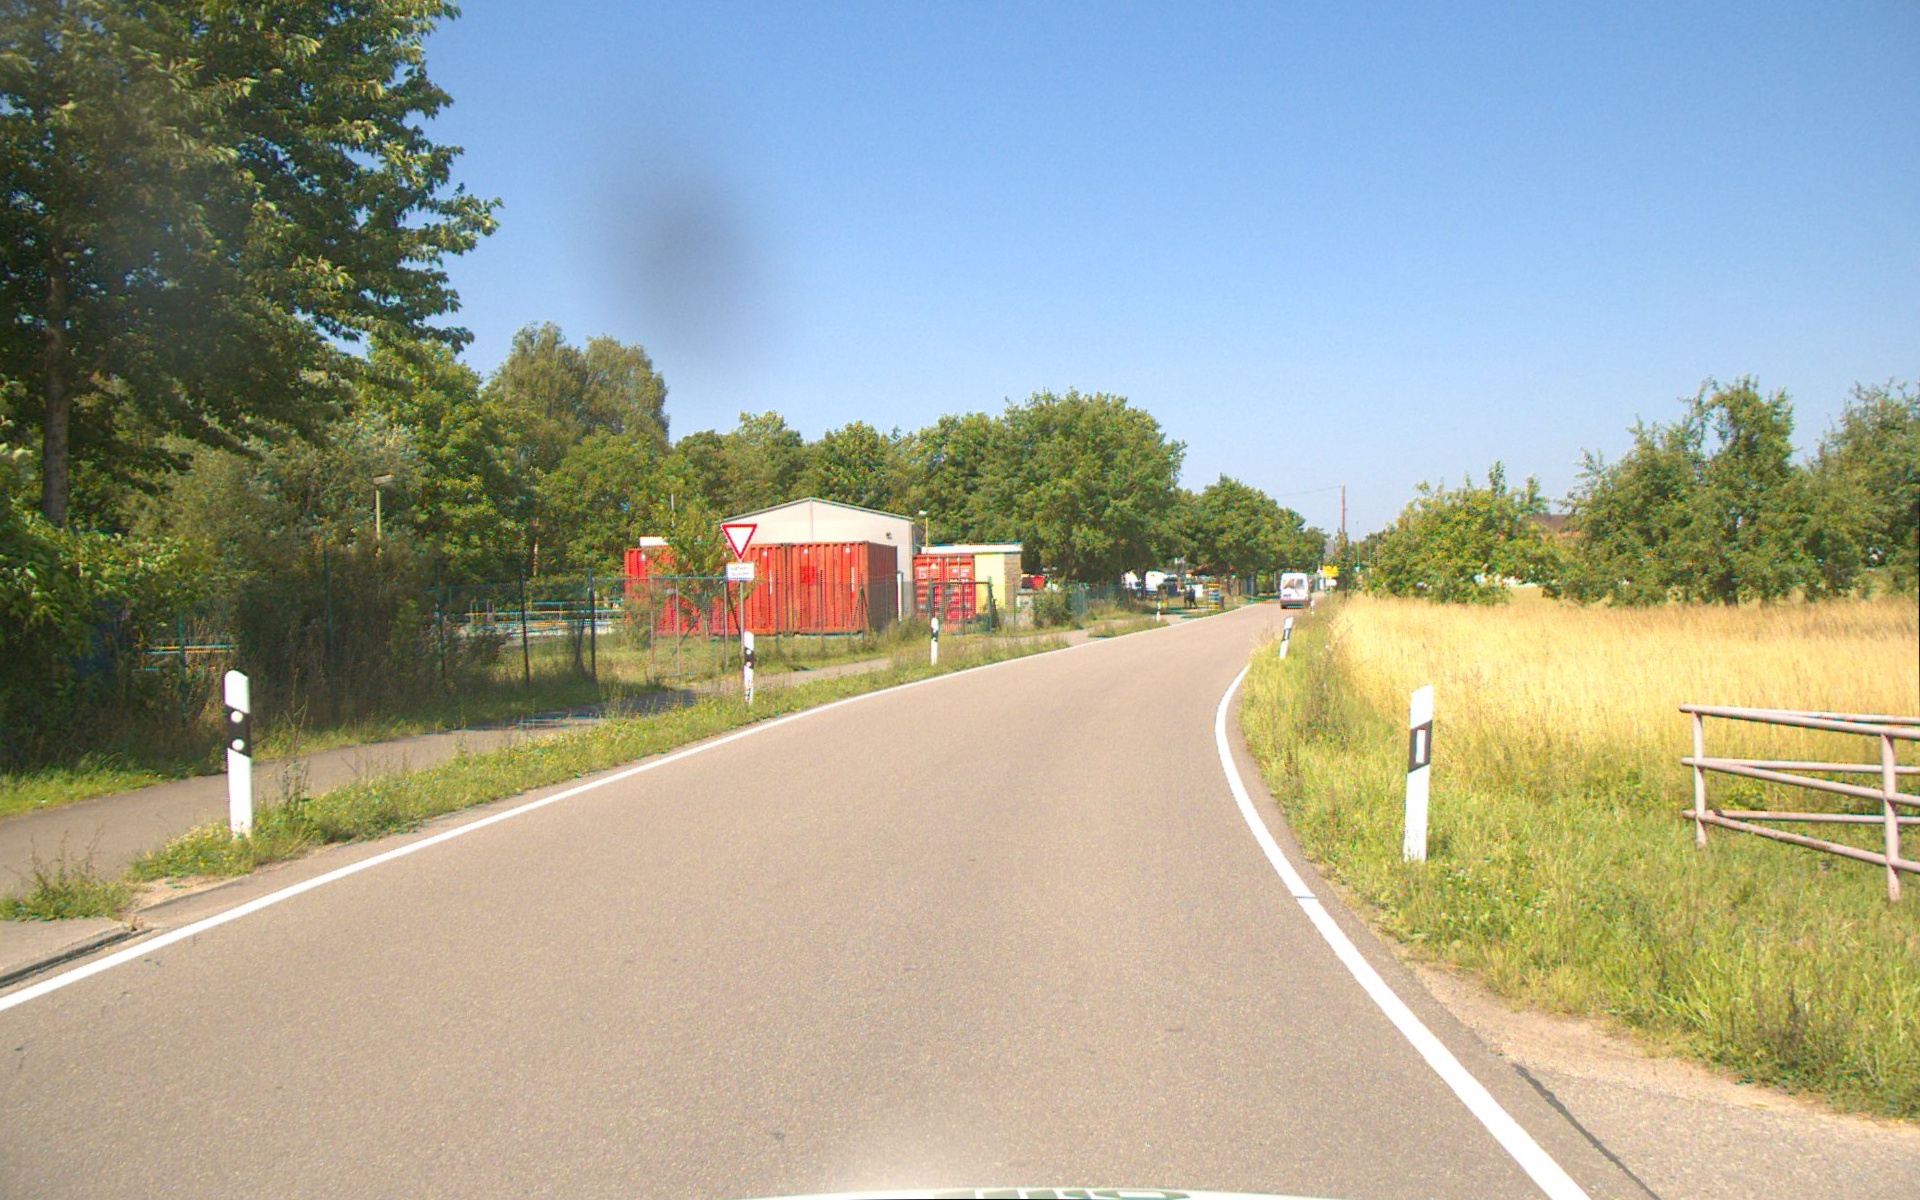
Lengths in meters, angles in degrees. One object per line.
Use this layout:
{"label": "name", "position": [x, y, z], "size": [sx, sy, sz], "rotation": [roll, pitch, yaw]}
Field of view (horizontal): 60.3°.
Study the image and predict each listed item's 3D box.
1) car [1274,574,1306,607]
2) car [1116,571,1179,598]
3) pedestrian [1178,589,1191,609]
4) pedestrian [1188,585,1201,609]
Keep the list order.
{"label": "car", "position": [23.545, -0.684, 117.964], "size": [1.951, 2.305, 4.730], "rotation": [-2, 0, 14]}
{"label": "car", "position": [17.293, -1.442, 152.750], "size": [5.524, 2.305, 1.984], "rotation": [-2, 0, -25]}
{"label": "pedestrian", "position": [17.741, -0.066, 130.661], "size": [0.665, 1.593, 0.716], "rotation": [-2, 0, 36]}
{"label": "pedestrian", "position": [18.555, -0.217, 131.014], "size": [0.707, 1.834, 0.707], "rotation": [-2, 0, 36]}
